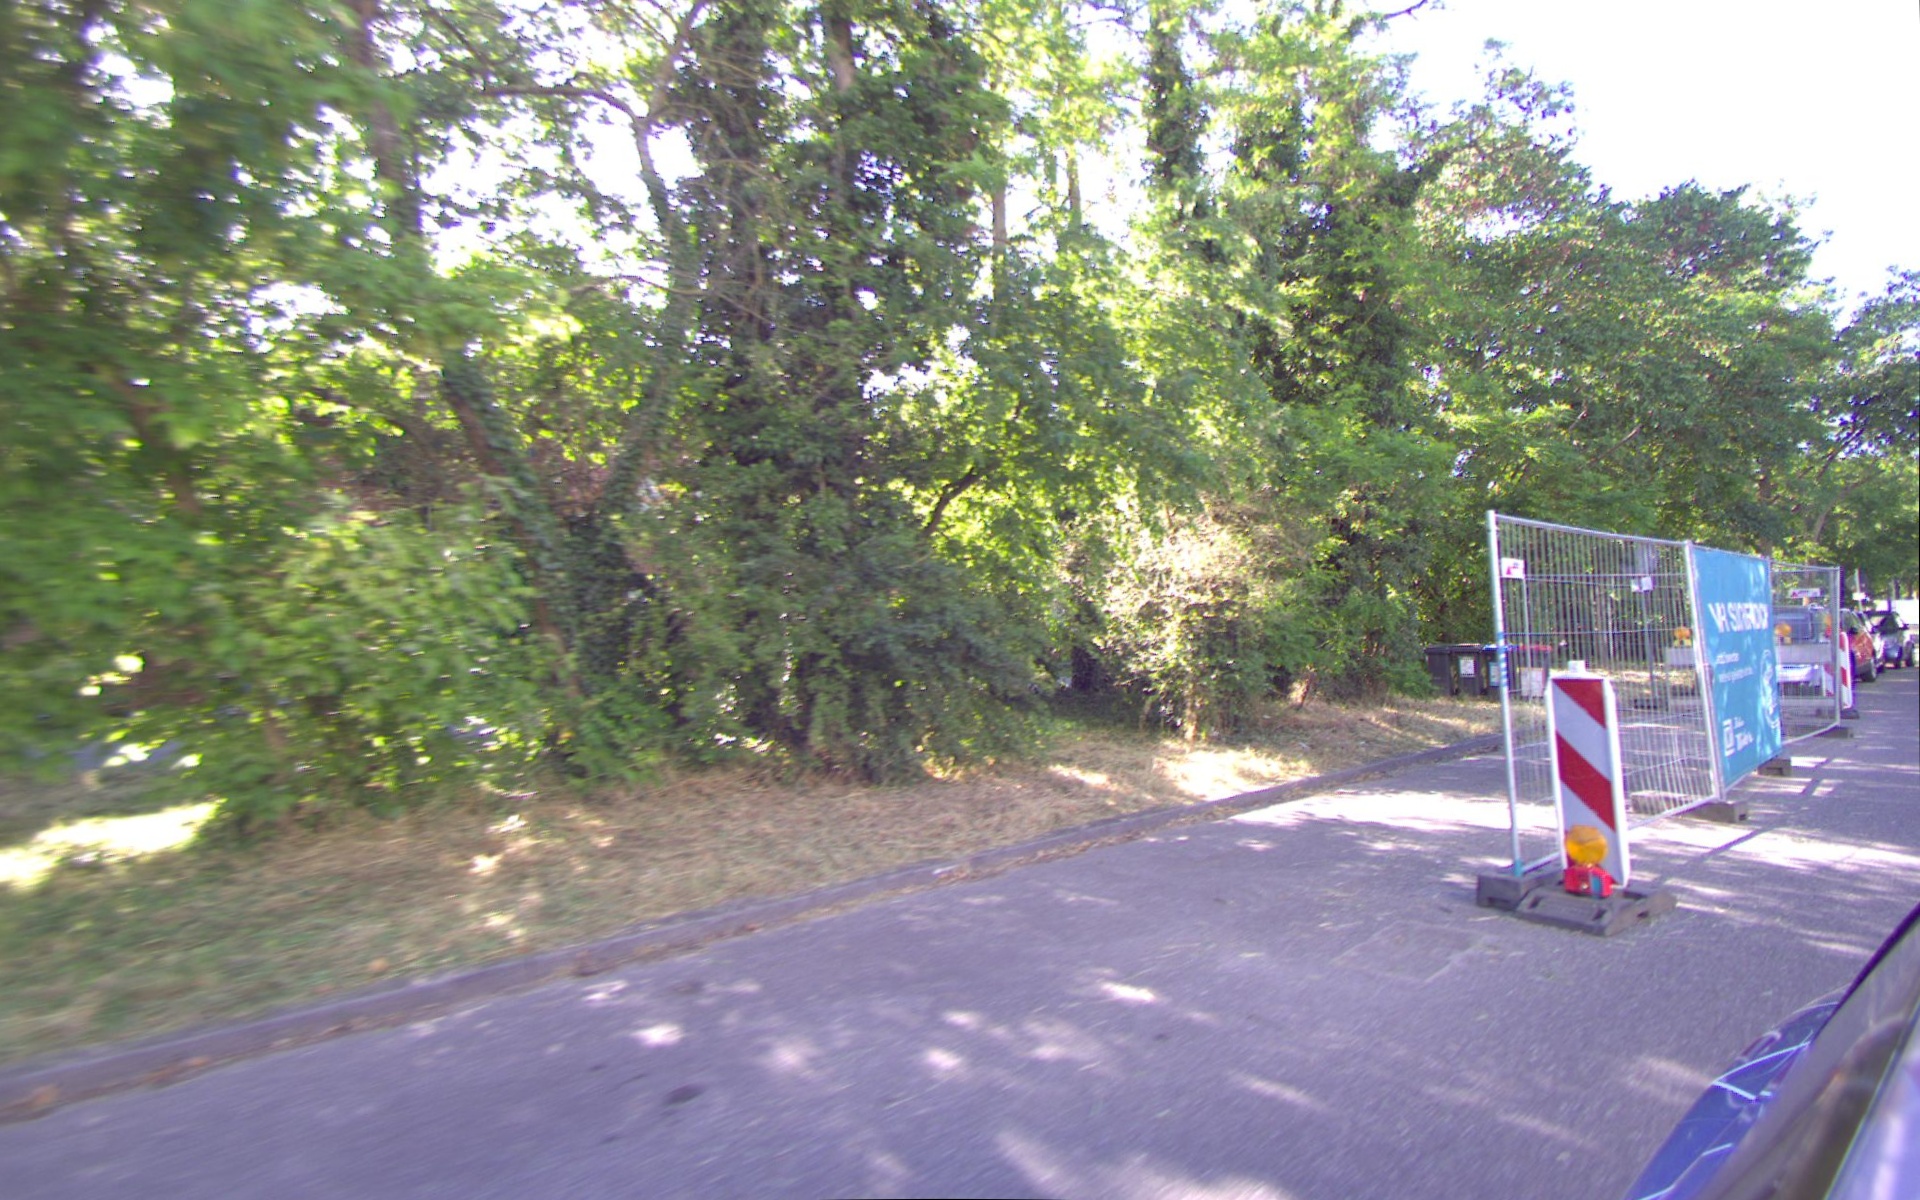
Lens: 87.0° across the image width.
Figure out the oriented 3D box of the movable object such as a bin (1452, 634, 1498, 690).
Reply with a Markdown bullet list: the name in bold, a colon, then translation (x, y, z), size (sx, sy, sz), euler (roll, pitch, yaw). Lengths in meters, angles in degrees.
- **movable object such as a bin**: translation (8.305, 0.992, 16.331), size (0.550, 0.872, 0.484), euler (0, -3, -44)

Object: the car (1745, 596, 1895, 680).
- **car**: translation (17.956, 0.755, 21.069), size (3.994, 1.594, 1.681), euler (0, -3, -40)

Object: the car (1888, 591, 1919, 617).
- **car**: translation (75.626, 0.316, 78.472), size (1.966, 2.030, 5.261), euler (0, -1, -42)

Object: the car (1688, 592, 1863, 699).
- **car**: translation (14.194, 0.739, 17.544), size (4.066, 1.643, 1.680), euler (0, -3, -42)

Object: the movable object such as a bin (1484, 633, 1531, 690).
- **movable object such as a bin**: translation (8.641, 0.964, 15.966), size (0.550, 0.872, 0.484), euler (0, -3, -44)

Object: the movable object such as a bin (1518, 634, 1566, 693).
- **movable object such as a bin**: translation (8.978, 0.968, 15.610), size (0.550, 0.872, 0.484), euler (0, -3, -44)

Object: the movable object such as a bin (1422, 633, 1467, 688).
- **movable object such as a bin**: translation (8.014, 0.992, 16.735), size (0.550, 0.872, 0.484), euler (0, -3, -44)

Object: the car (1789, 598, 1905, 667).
- **car**: translation (21.497, 0.764, 24.473), size (4.081, 1.529, 1.712), euler (0, -3, -44)

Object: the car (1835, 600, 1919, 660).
- **car**: translation (24.809, 0.802, 27.156), size (2.628, 1.529, 1.496), euler (0, -3, -39)
